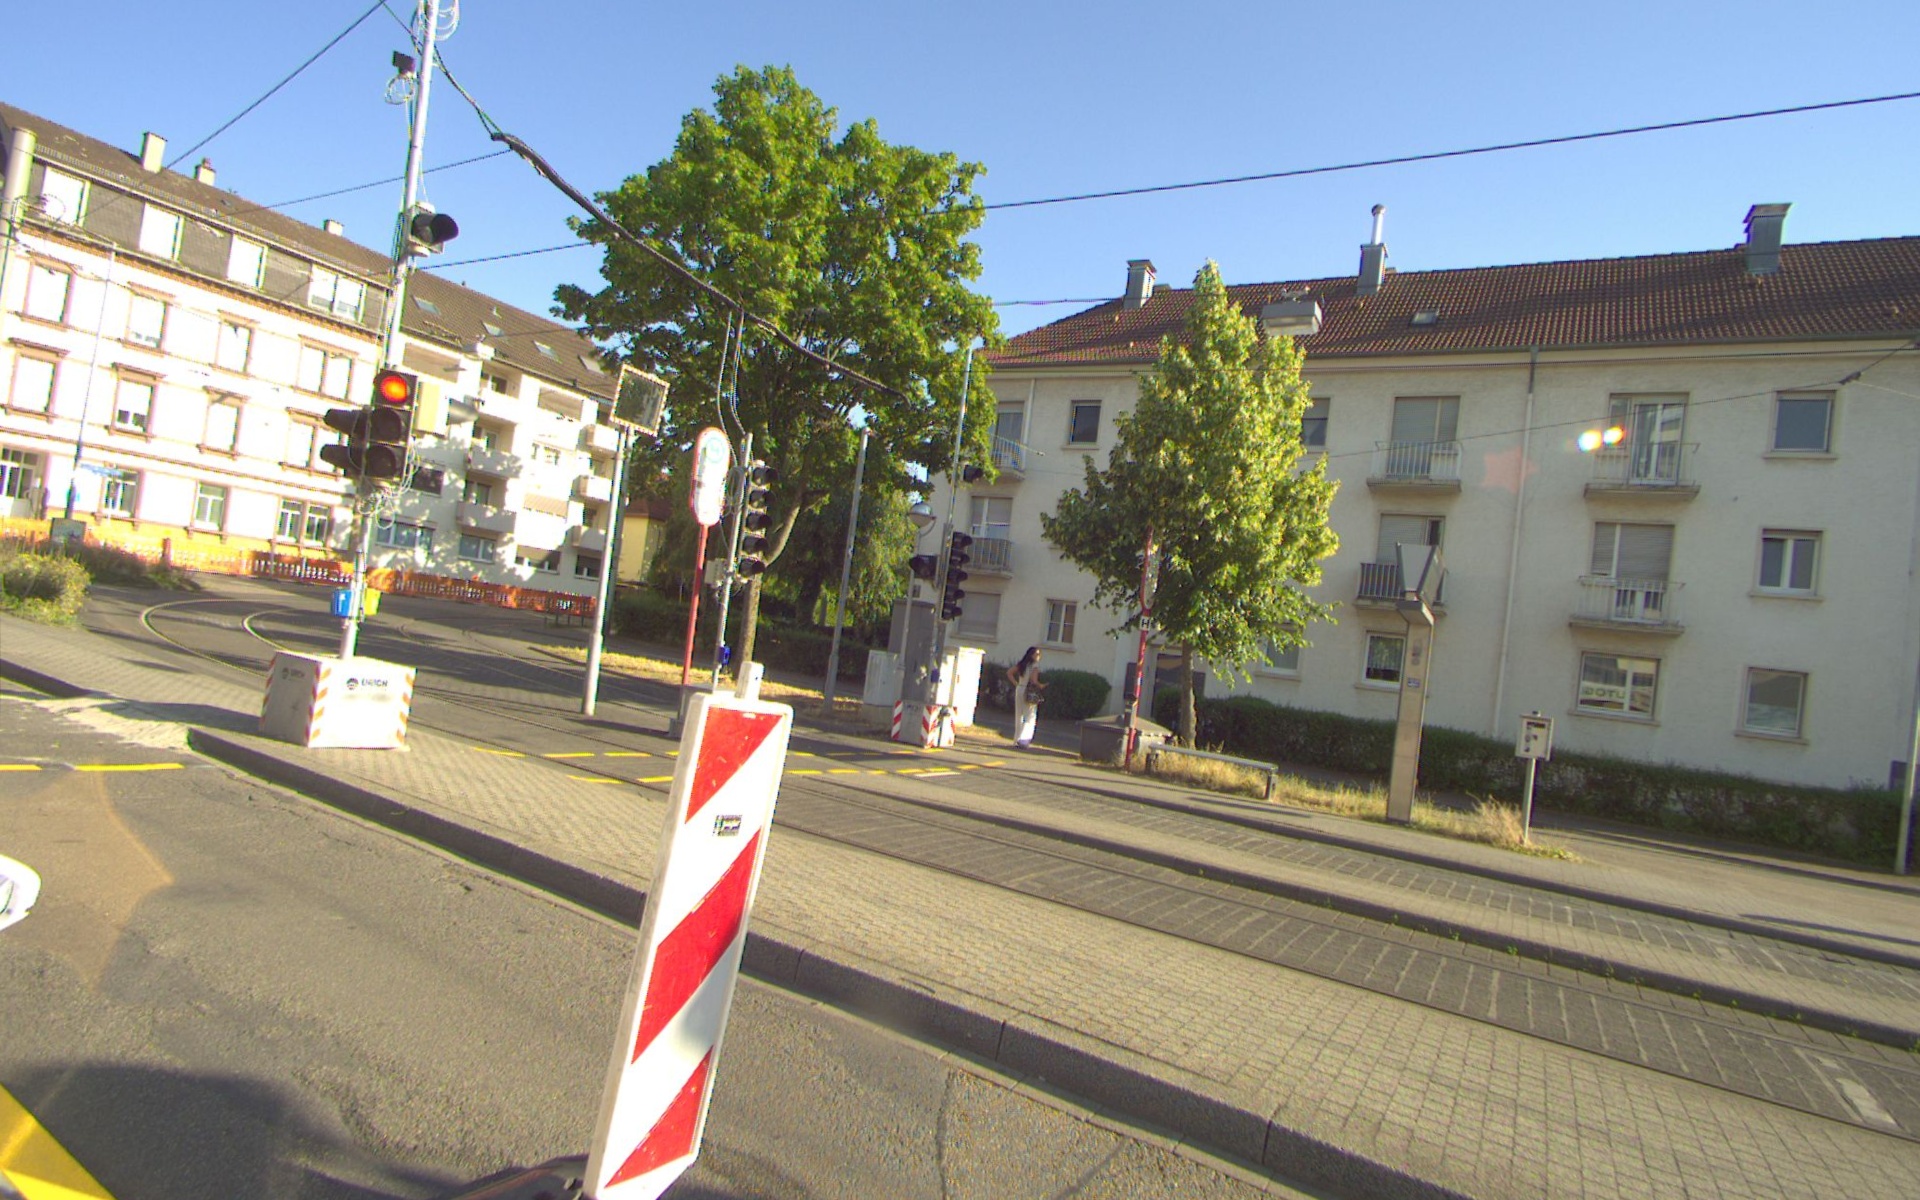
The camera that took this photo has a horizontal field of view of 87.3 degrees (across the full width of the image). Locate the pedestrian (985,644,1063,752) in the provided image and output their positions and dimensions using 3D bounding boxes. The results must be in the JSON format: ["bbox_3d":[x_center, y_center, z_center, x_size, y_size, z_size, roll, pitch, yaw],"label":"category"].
[{"bbox_3d":[1.048,1.605,16.650,0.783,1.639,0.820,8,-1,-30],"label":"pedestrian"}]
